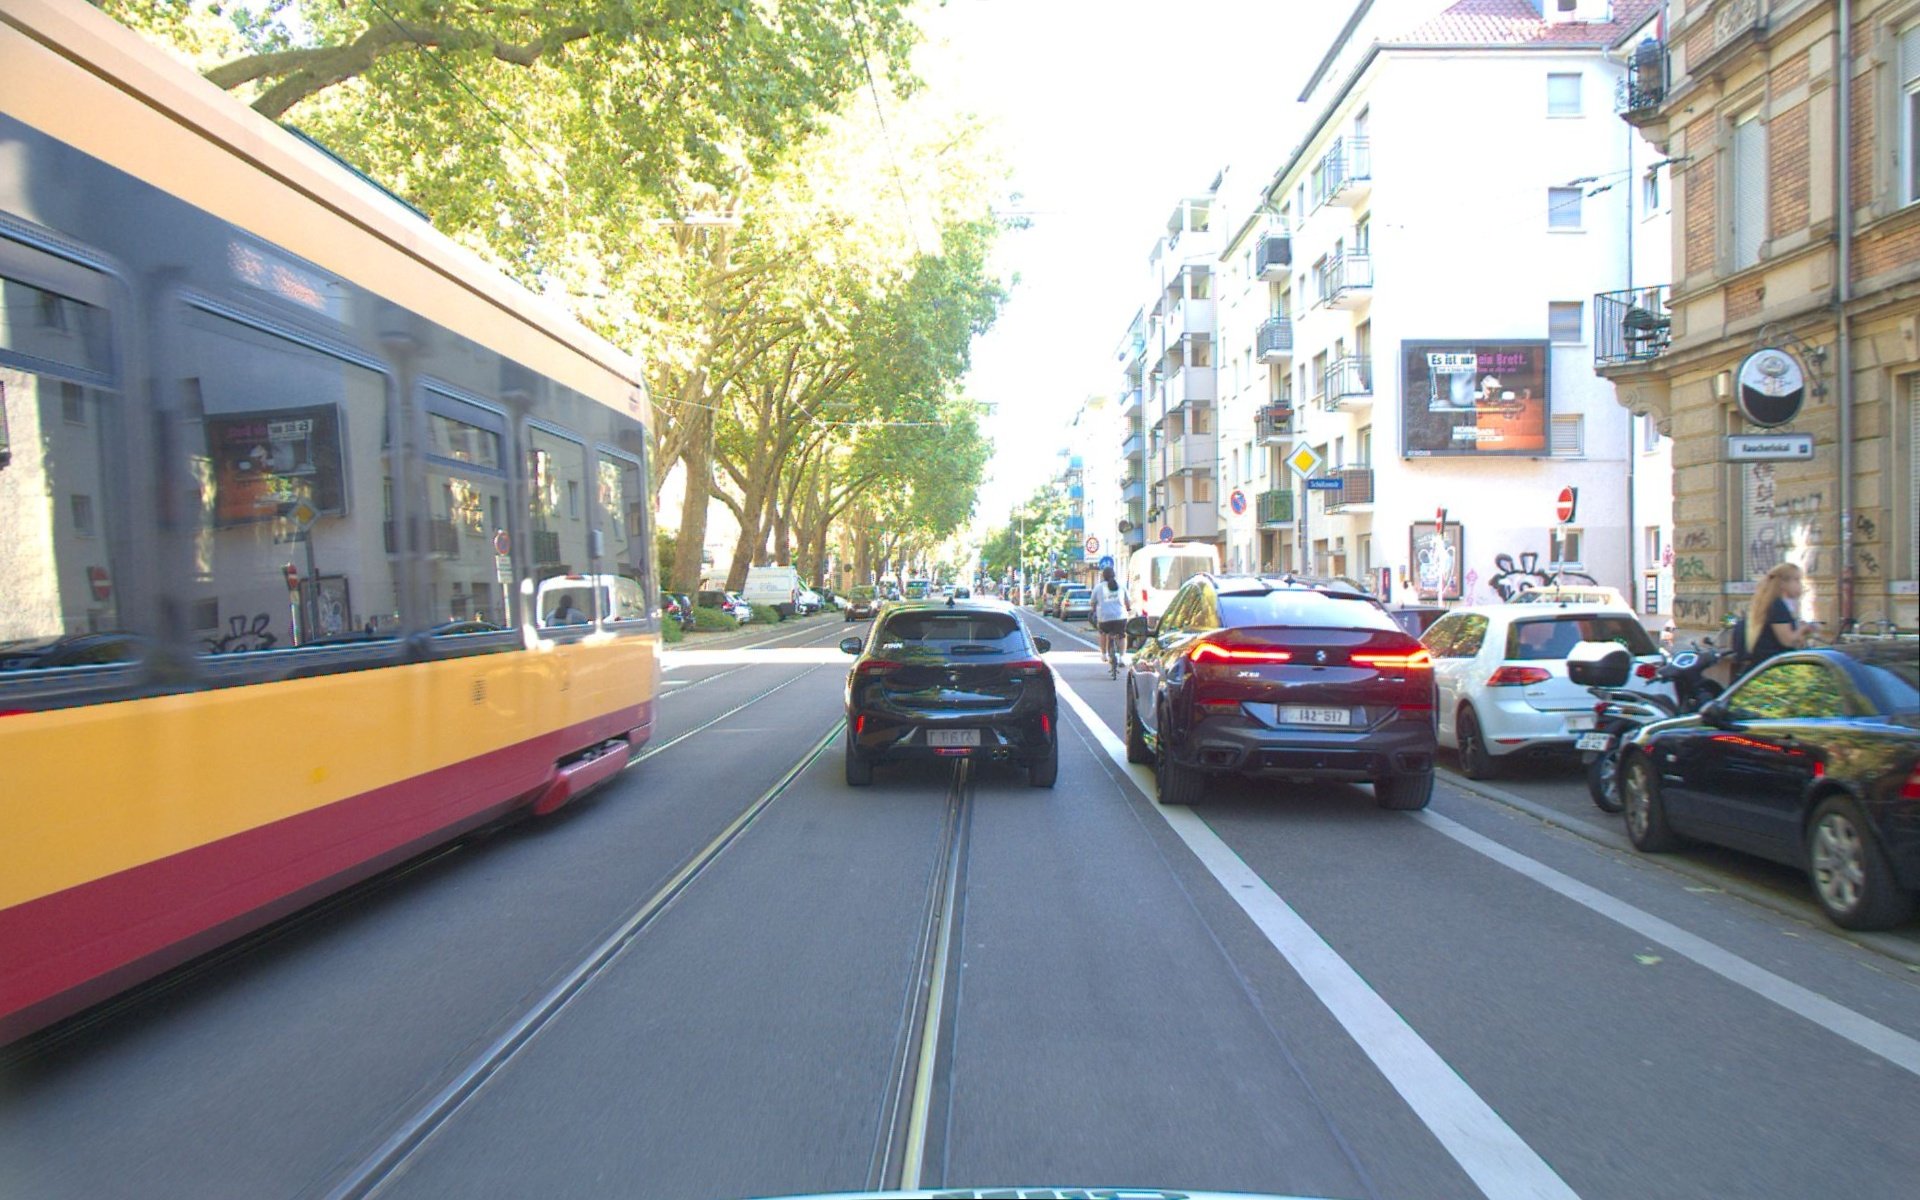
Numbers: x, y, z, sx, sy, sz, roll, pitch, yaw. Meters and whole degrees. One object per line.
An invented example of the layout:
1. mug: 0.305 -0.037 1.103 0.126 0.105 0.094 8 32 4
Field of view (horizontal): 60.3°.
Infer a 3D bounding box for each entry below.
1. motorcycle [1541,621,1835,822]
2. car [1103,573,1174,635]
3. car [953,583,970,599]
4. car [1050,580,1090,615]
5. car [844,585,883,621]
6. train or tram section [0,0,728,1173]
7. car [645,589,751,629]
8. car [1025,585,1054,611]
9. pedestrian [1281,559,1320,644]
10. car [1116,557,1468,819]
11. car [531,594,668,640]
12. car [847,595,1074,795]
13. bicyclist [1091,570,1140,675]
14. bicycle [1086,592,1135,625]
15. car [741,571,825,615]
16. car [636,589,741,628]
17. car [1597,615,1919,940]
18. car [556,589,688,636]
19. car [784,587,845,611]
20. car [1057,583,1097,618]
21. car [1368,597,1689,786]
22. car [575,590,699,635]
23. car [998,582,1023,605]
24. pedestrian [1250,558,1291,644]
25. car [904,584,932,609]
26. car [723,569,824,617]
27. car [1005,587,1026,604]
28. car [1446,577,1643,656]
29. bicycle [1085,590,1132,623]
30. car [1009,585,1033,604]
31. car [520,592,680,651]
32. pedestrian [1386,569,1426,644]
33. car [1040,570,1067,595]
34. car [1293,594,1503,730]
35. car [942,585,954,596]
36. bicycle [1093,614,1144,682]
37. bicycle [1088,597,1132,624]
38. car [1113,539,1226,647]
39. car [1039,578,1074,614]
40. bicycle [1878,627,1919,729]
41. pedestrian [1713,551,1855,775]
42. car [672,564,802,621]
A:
1. motorcycle: 5.208 0.826 11.812 2.104 1.311 0.639 0 0 -22
2. car: 5.604 0.106 52.375 1.820 1.852 4.351 0 0 1
3. car: 0.183 -0.946 174.312 1.713 1.680 4.001 -1 0 2
4. car: 5.557 -0.136 83.952 1.731 1.734 4.283 -1 0 0
5. car: -4.324 0.113 74.355 1.602 1.536 3.691 0 0 -1
6. train or tram section: -3.657 -0.436 8.909 2.876 3.682 11.064 1 0 2
7. car: -10.464 0.340 66.236 3.904 1.522 1.830 -1 0 1
8. car: 5.267 -0.155 109.671 1.820 1.680 4.001 -1 0 2
9. pedestrian: 7.586 0.032 36.877 0.612 1.854 1.082 -2 0 2
10. car: 2.439 0.582 13.364 1.904 1.734 4.630 1 0 0
11. car: -11.348 0.522 52.220 3.904 1.393 1.606 -1 0 2
12. car: 0.005 0.693 13.986 1.645 1.447 3.627 1 0 0
13. bicyclist: 2.701 0.379 28.792 0.770 1.790 0.914 0 0 0
14. bicycle: 5.744 0.330 63.101 1.757 1.168 0.704 -3 0 0
15. car: -10.604 -0.424 99.188 4.845 2.612 2.081 -1 0 -3
16. car: -10.444 0.314 63.758 3.715 1.486 1.704 0 0 1
17. car: 4.940 0.784 8.816 1.615 1.294 3.724 -2 0 0
18. car: -11.058 0.403 54.289 3.904 1.486 1.771 -1 0 2
19. car: -9.672 -0.085 110.363 3.906 1.548 1.771 -1 0 -1
20. car: 5.457 0.001 77.256 1.688 1.552 4.514 -1 0 2
21. car: 5.050 0.730 15.261 1.569 1.445 4.013 -2 0 1
22. car: -11.115 0.407 57.109 3.904 1.486 1.705 -1 0 2
23. car: 3.916 -0.512 127.992 1.820 1.680 4.001 -1 0 2
24. pedestrian: 6.926 0.020 36.902 0.695 1.854 1.082 -2 0 2
25. car: -2.638 -0.229 103.368 1.683 1.536 3.722 -1 0 -1
26. car: -10.190 -0.384 90.496 5.250 2.521 2.057 -1 0 0
27. car: 4.992 -0.421 147.966 1.683 1.516 3.681 -1 0 -1
28. car: 12.140 0.333 34.531 3.573 1.601 1.791 0 0 6
29. bicycle: 5.814 0.263 64.755 1.786 1.212 0.457 -3 0 0
30. car: 5.250 -0.516 142.219 1.684 1.601 4.082 -1 0 -3
31. car: -9.754 0.579 45.013 3.905 1.486 1.878 -1 -1 -1
32. pedestrian: 9.723 0.137 36.093 0.619 1.608 0.933 1 0 2
33. car: 6.627 -1.242 117.359 1.820 1.680 4.001 -1 0 2
34. car: 5.325 0.691 20.604 1.615 1.445 4.061 -2 0 2
35. car: -1.742 -1.348 233.397 1.645 1.447 3.627 1 0 0
36. bicycle: 2.742 0.814 28.783 0.686 1.111 1.990 1 0 0
37. bicycle: 5.837 0.398 64.255 1.619 0.983 0.457 -3 0 0
38. car: 5.232 -0.189 42.089 2.105 2.539 6.088 0 0 0
39. car: 5.386 -0.243 92.541 1.820 1.923 4.926 -1 0 2
40. bicycle: 10.035 0.812 17.087 0.370 1.018 1.373 -1 0 2
41. pedestrian: 6.379 0.473 12.834 0.748 1.686 0.717 0 0 1
42. car: -10.169 -0.360 75.782 5.622 2.580 2.163 0 1 0
